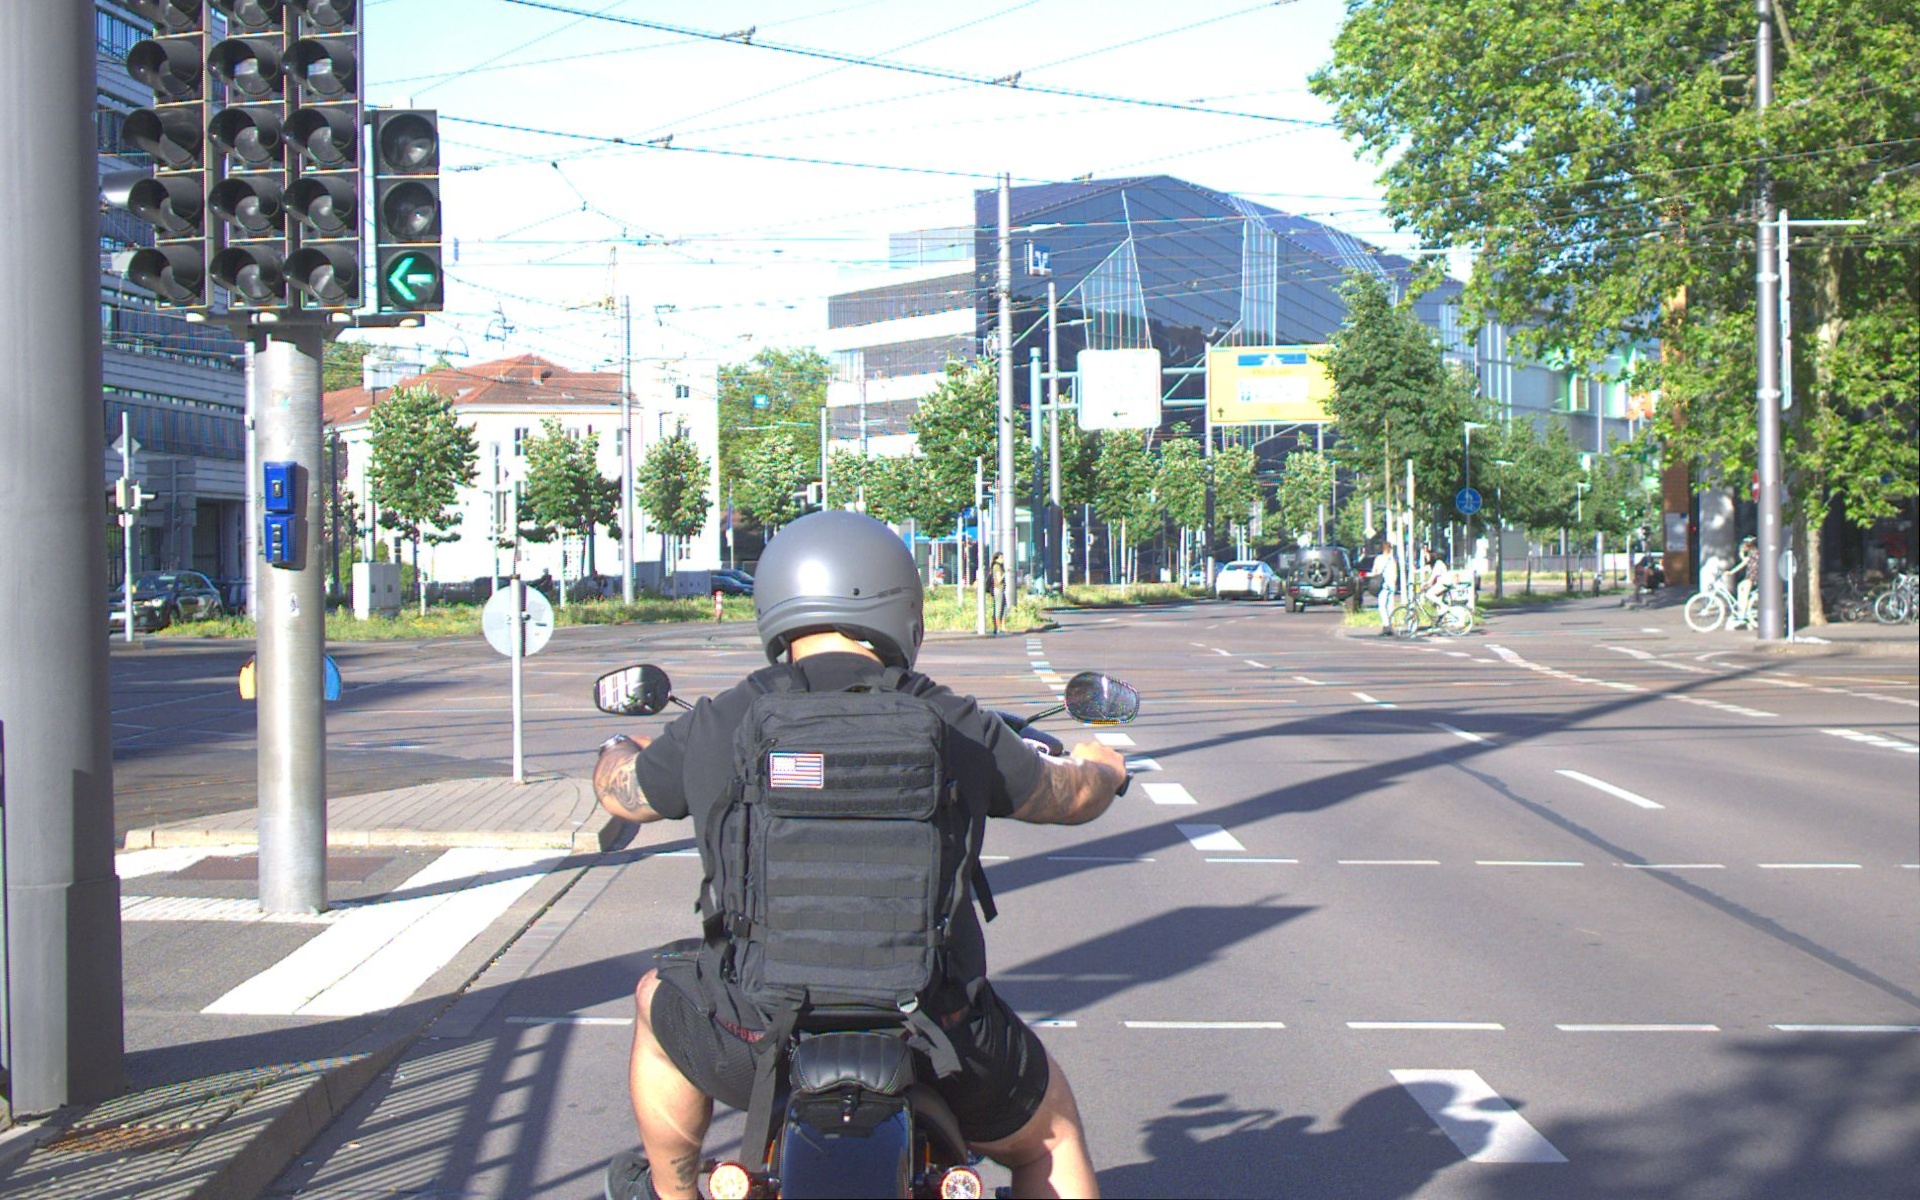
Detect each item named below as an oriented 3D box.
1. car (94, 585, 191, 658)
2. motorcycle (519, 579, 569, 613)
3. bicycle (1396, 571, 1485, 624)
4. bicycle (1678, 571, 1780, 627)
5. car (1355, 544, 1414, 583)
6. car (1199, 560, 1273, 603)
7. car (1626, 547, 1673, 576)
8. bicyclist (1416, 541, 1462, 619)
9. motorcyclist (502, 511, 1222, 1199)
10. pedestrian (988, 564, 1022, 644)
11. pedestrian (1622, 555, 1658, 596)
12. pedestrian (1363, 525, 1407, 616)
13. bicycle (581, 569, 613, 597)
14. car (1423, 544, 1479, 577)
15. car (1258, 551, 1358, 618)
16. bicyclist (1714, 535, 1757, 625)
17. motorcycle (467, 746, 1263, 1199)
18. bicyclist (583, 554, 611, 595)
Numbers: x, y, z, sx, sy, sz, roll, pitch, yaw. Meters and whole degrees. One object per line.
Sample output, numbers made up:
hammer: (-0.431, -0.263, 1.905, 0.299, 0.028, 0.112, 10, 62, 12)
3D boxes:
car: (-18.229, 0.460, 76.766, 1.791, 1.461, 4.312, -1, 1, -10)
motorcycle: (-15.643, -0.157, 129.368, 0.984, 1.227, 2.941, 0, 1, 11)
bicycle: (9.357, -0.045, 66.977, 1.629, 1.018, 0.516, -1, 0, 23)
bicycle: (14.514, -0.017, 64.921, 1.853, 1.018, 0.516, -1, 0, 11)
car: (18.456, -1.578, 149.399, 1.722, 1.651, 3.750, 0, 1, 20)
car: (10.061, -0.675, 125.065, 1.903, 1.503, 3.997, 1, 0, 16)
car: (36.028, -1.997, 179.575, 1.843, 1.459, 3.996, 1, 0, 19)
bicyclist: (9.329, -0.392, 66.981, 0.743, 1.498, 0.569, -1, 0, 23)
motorcyclist: (-0.152, 0.642, 5.587, 1.022, 1.547, 1.286, 1, 1, -1)
pedestrian: (0.903, 0.075, 68.791, 0.657, 1.577, 0.489, 0, 1, 3)
pedestrian: (17.885, -0.640, 90.448, 0.785, 1.053, 0.813, 0, 1, 22)
pedestrian: (8.572, -0.598, 69.312, 0.701, 1.830, 0.514, 1, 0, 35)
bicycle: (-14.557, -0.686, 138.037, 0.643, 1.104, 1.683, 0, 1, 18)
car: (22.987, -1.843, 160.900, 1.722, 1.479, 3.750, 0, 1, 23)
car: (10.158, -0.451, 100.057, 2.055, 1.867, 4.223, 1, 0, 17)
bicyclist: (14.632, -0.378, 64.877, 0.743, 1.689, 0.570, -1, 0, 11)
motorcycle: (-0.138, 0.870, 5.535, 1.005, 1.121, 2.323, 1, 1, -1)
bicyclist: (-14.568, -1.023, 137.997, 0.764, 1.661, 0.993, 0, 1, 17)
